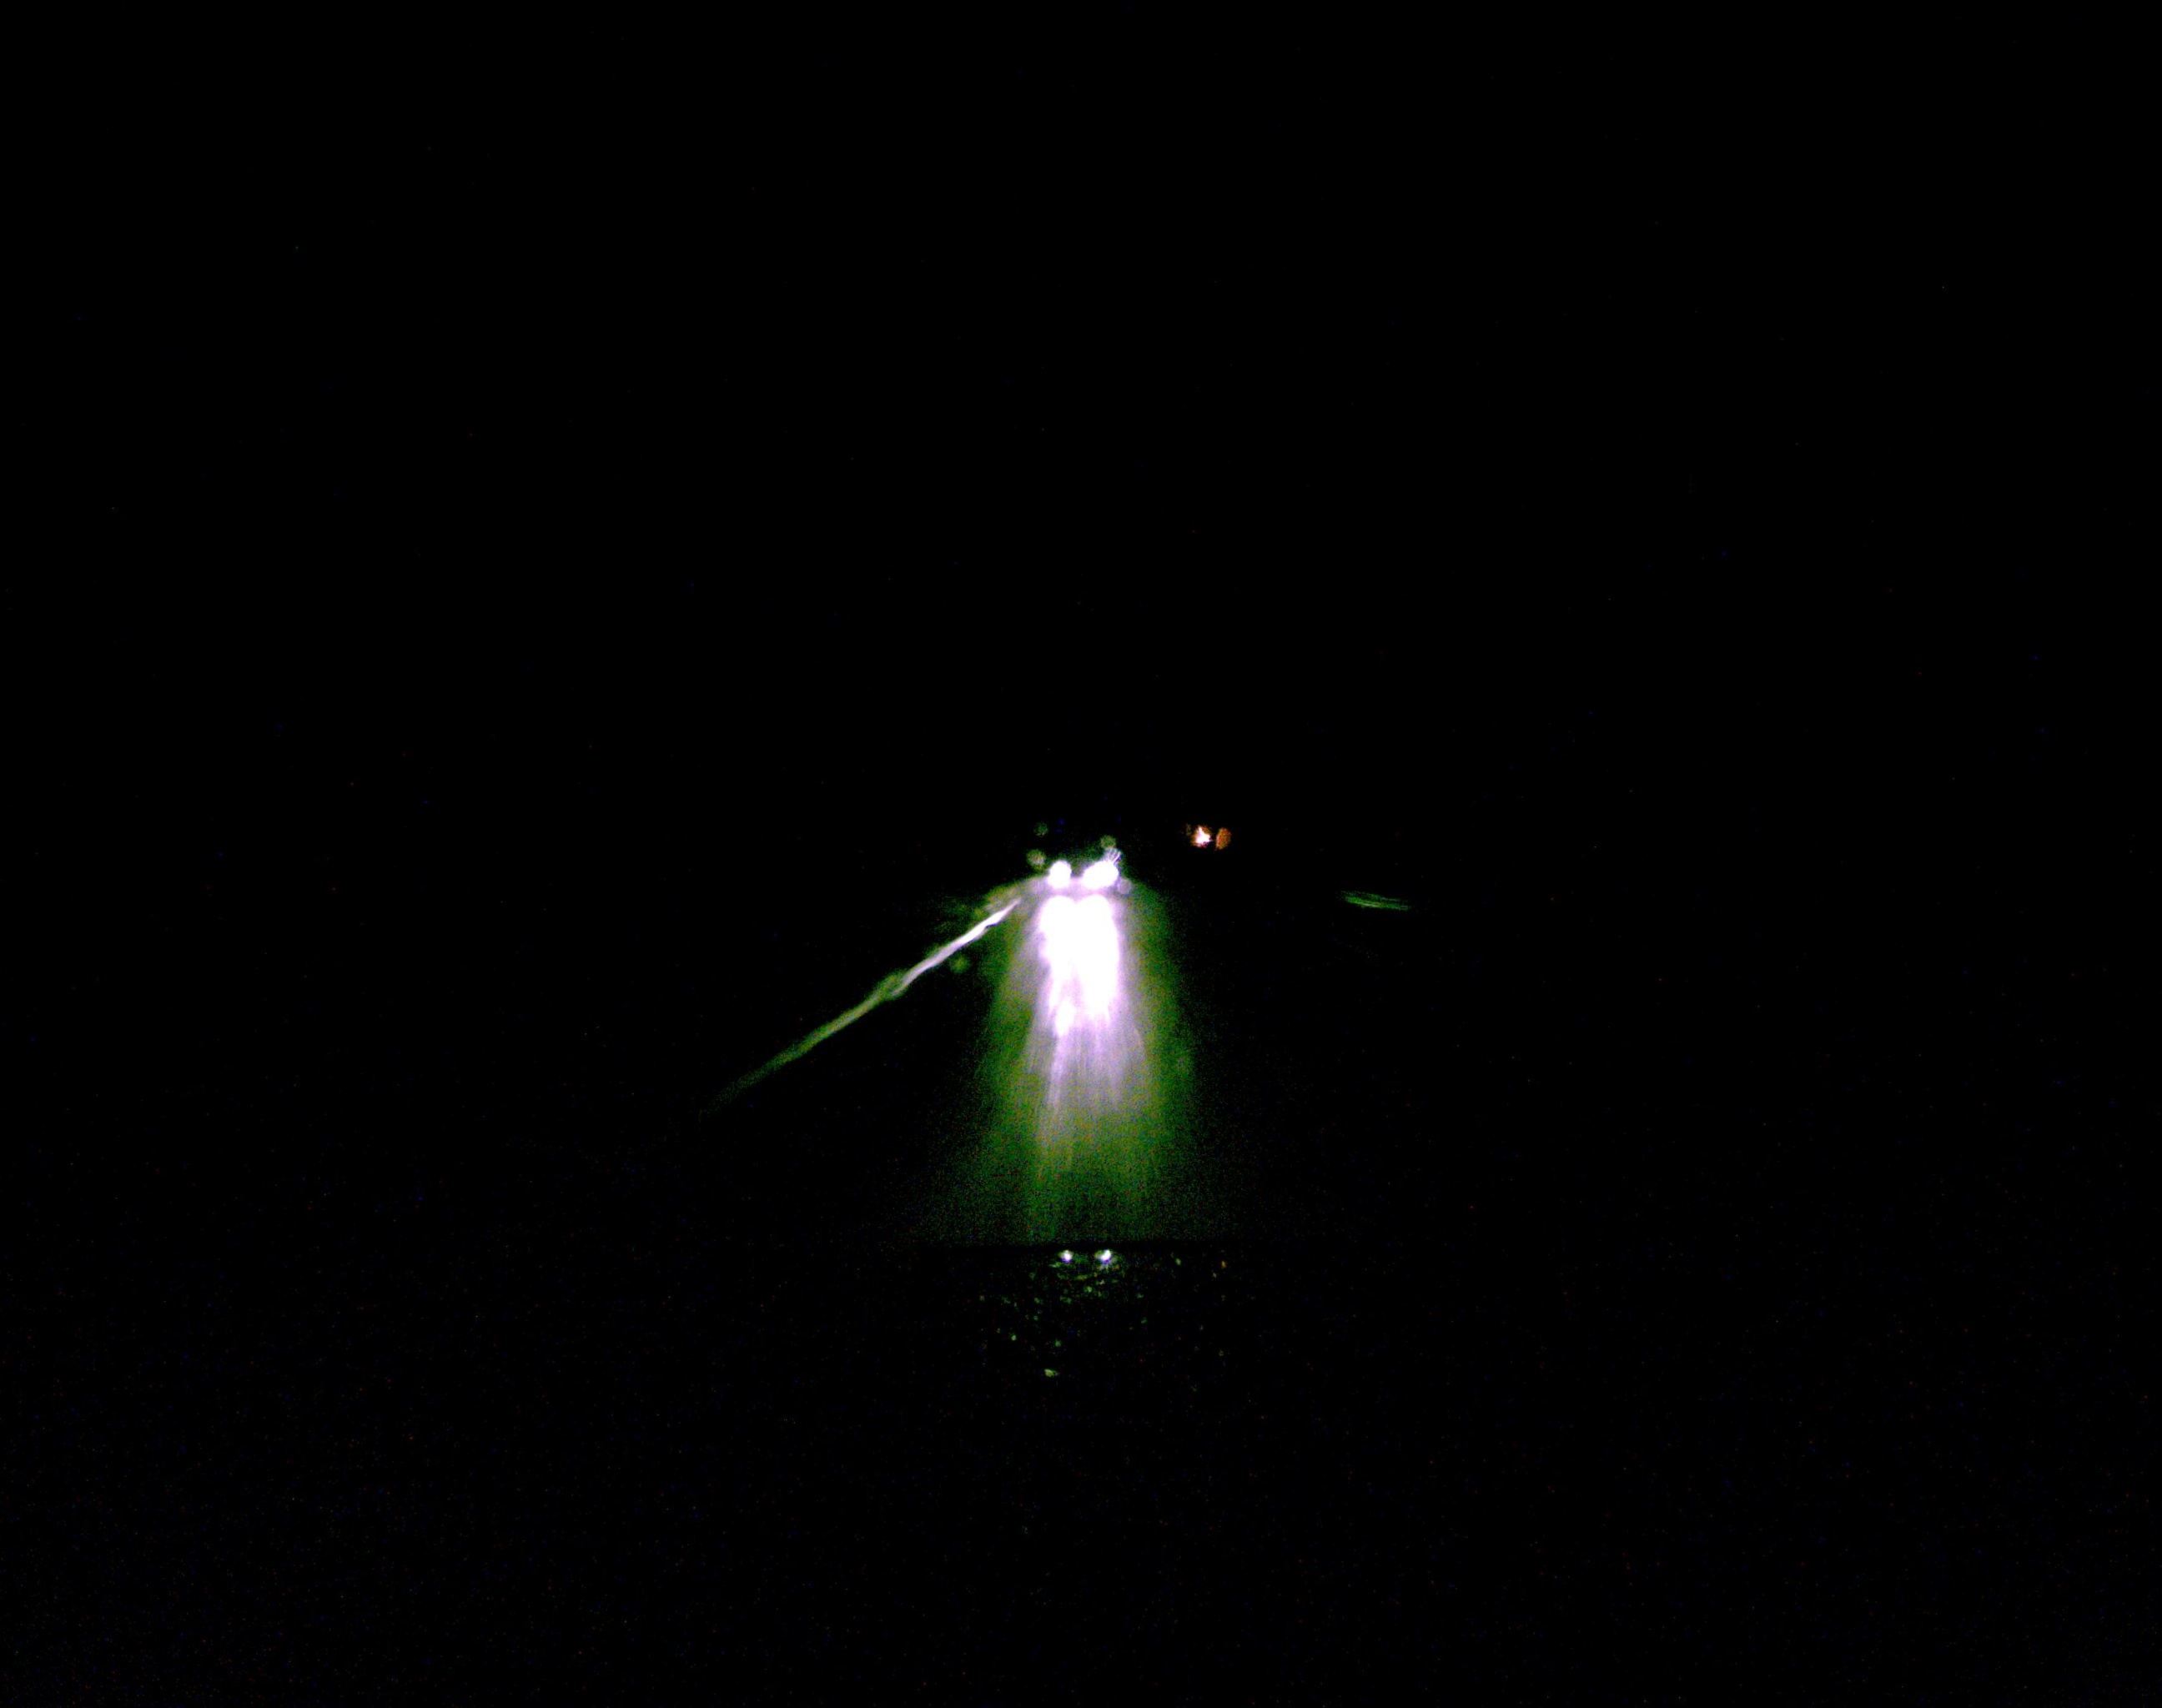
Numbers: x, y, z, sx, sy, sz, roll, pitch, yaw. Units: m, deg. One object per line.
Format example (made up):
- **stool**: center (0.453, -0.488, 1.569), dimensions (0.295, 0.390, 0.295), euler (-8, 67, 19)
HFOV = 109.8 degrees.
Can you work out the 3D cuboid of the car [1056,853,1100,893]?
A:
- **car**: center (-0.165, 0.810, 32.905), dimensions (1.793, 1.593, 4.000), euler (0, -1, -1)
